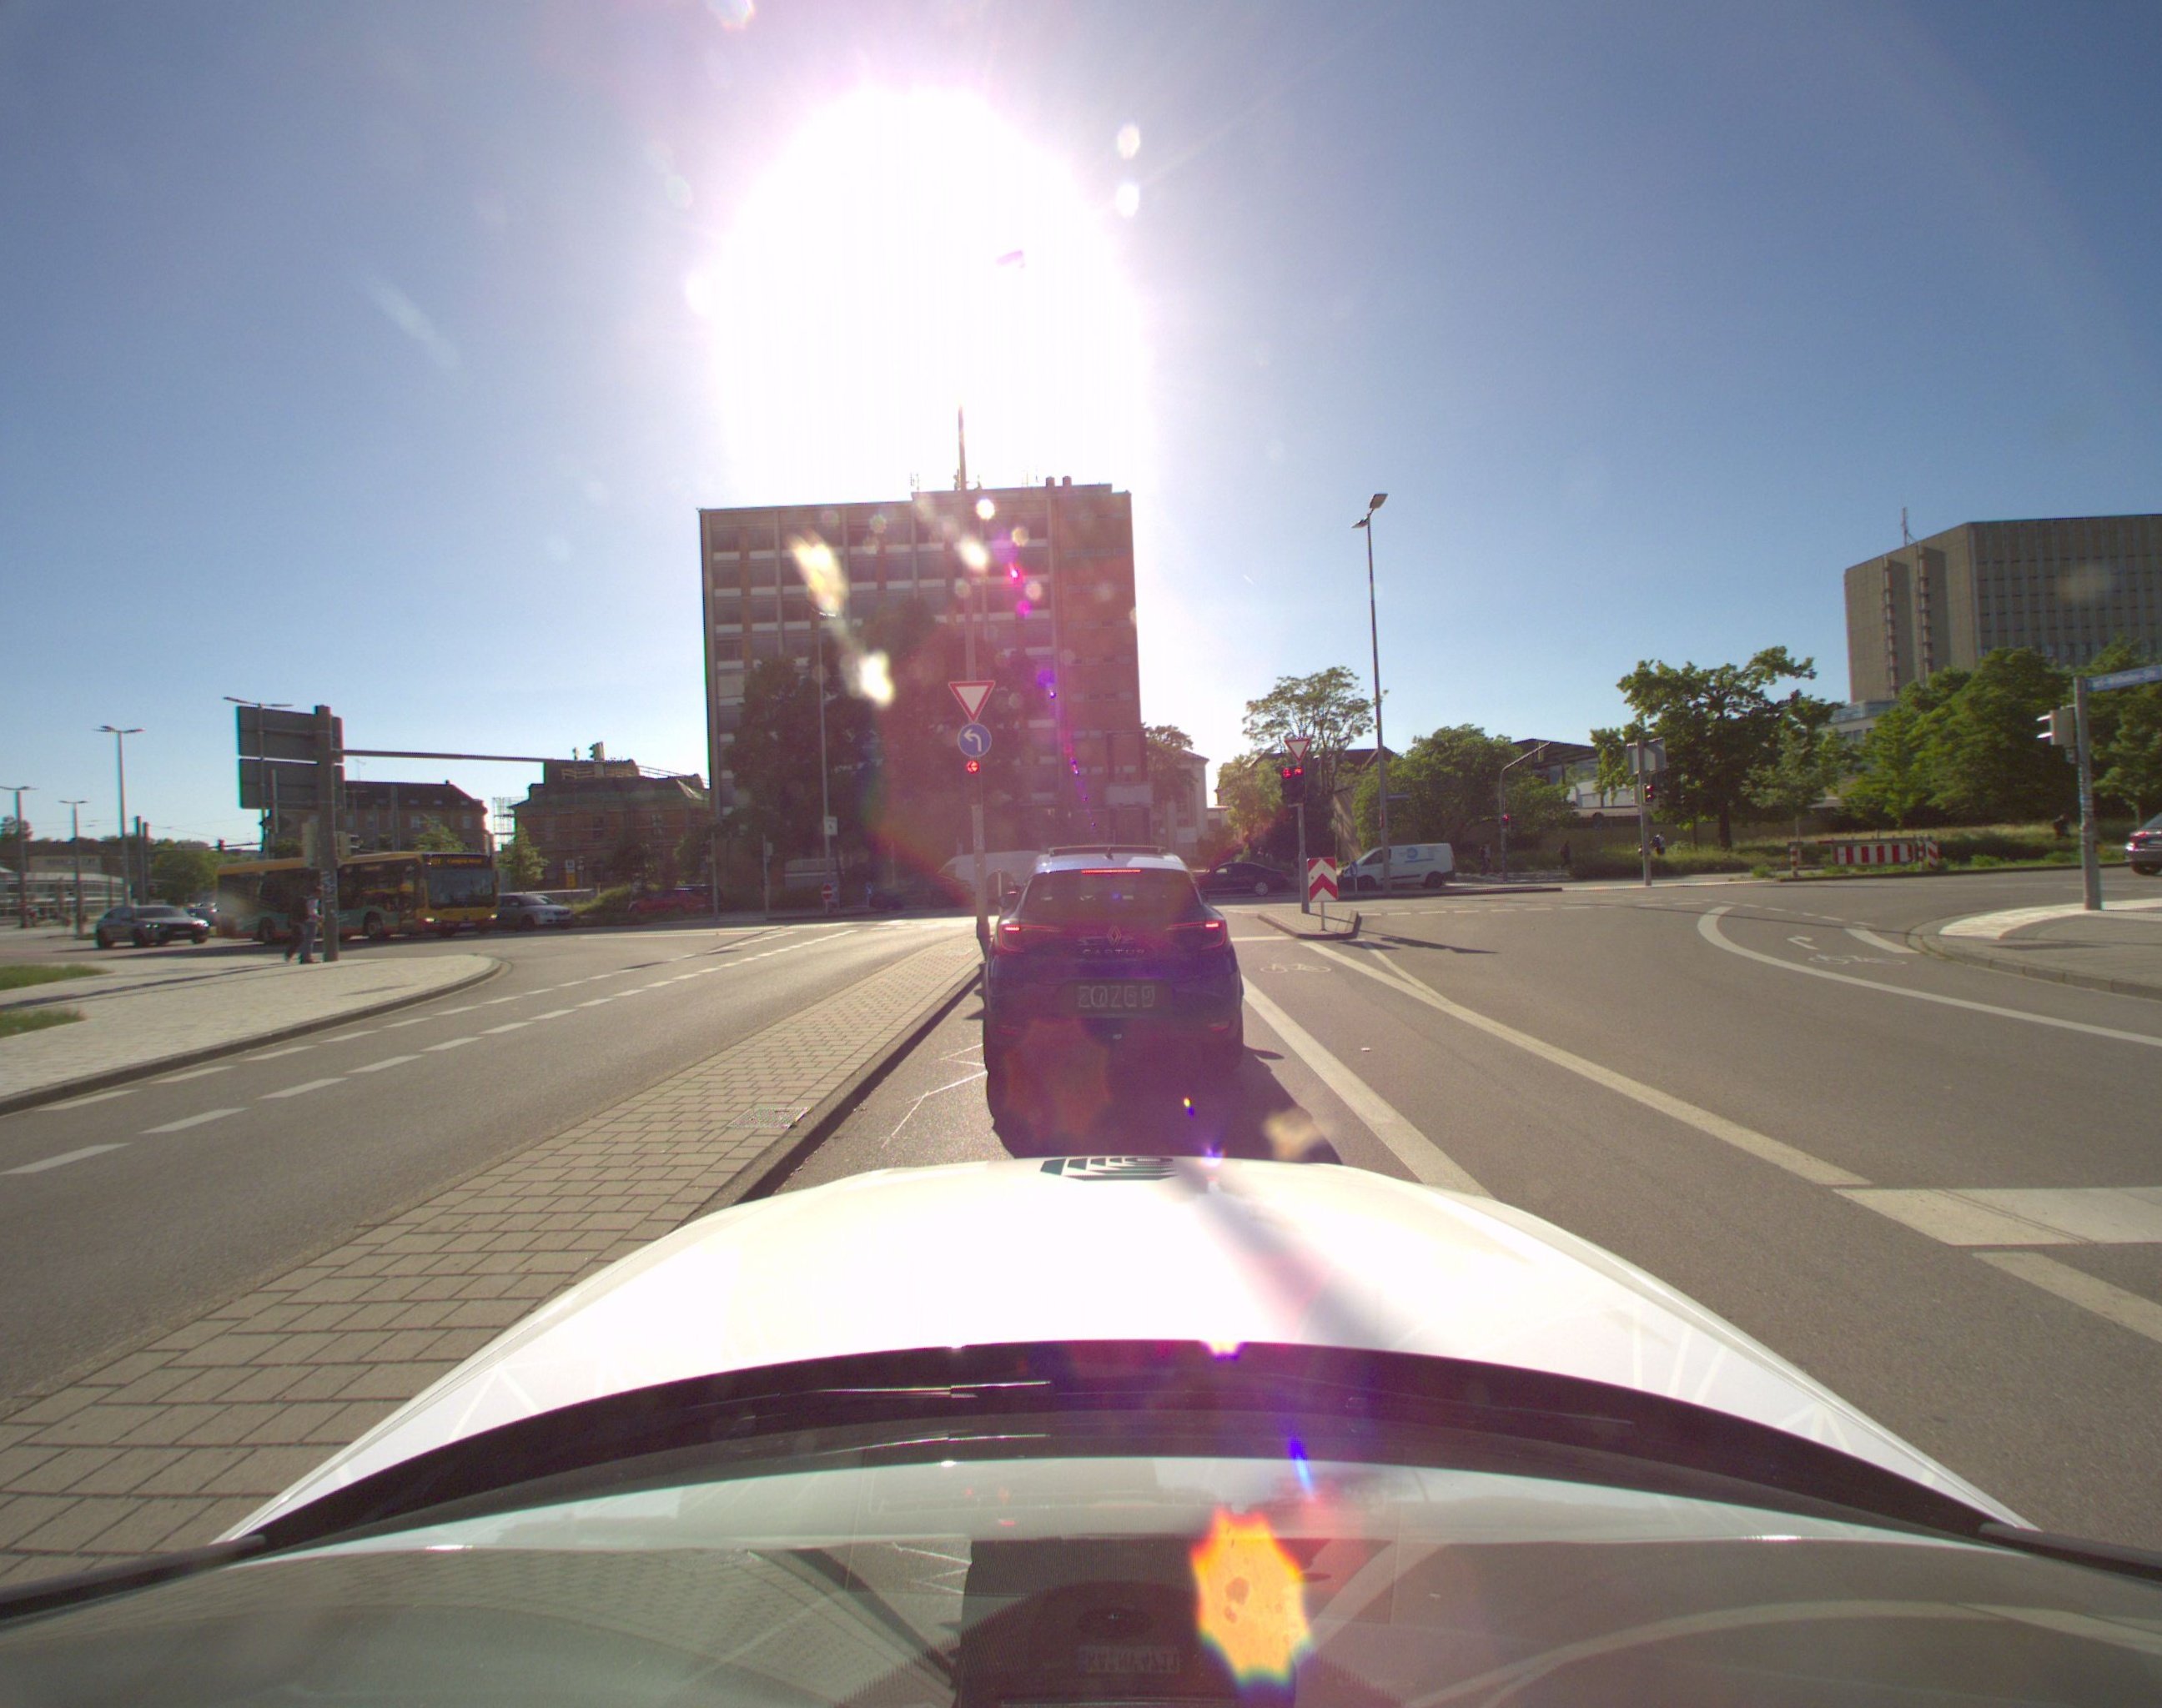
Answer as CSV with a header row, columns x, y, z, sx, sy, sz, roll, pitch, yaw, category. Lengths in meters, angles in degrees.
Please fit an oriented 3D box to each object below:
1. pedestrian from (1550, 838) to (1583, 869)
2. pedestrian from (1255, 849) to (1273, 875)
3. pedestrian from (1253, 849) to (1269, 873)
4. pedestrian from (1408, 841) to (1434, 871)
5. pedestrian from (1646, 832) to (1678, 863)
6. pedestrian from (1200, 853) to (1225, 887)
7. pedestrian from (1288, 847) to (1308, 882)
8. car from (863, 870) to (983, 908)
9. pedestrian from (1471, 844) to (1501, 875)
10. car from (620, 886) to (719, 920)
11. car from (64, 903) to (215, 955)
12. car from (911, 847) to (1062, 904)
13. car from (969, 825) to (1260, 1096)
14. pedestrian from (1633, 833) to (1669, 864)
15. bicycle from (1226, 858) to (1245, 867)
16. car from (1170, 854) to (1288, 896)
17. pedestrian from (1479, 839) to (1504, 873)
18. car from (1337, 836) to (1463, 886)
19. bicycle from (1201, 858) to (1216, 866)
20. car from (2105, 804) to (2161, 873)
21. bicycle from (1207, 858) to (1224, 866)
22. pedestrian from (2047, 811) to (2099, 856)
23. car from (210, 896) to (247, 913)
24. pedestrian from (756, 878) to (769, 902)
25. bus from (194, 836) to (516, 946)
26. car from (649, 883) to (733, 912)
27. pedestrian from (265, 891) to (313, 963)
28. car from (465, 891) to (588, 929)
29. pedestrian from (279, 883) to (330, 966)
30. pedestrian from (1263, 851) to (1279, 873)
x,y,z,sx,sy,sz,roll,pitch,yaw,category
25.280,-0.026,42.389,1.140,1.521,0.944,-2,0,7,pedestrian
14.518,0.628,64.725,1.152,2.013,1.165,-2,0,2,pedestrian
13.786,0.540,62.259,0.949,1.741,0.984,-2,0,2,pedestrian
17.983,0.101,43.087,1.078,1.521,0.933,-2,0,11,pedestrian
29.698,-0.327,41.659,0.966,1.521,0.887,-2,0,5,pedestrian
7.510,0.908,46.541,1.288,1.855,0.969,-3,-1,13,pedestrian
11.938,0.578,44.883,0.926,1.855,0.809,-3,-1,11,pedestrian
-7.251,1.646,37.604,4.995,1.673,2.006,-1,-3,12,car
20.539,0.261,41.361,1.069,1.521,0.880,-2,0,6,pedestrian
-20.779,2.460,41.152,4.016,1.439,2.073,-3,0,13,car
-40.034,3.173,34.678,4.697,1.861,2.011,-3,0,10,car
-4.750,1.085,41.530,6.884,2.547,3.025,-3,0,15,car
0.239,0.657,6.991,1.788,1.655,3.854,-1,0,1,car
29.726,-0.273,42.489,1.123,1.521,0.992,-2,0,5,pedestrian
15.822,0.830,83.384,1.770,0.823,0.763,-2,0,-9,bicycle
6.407,0.900,35.248,4.811,1.582,2.108,-3,0,11,car
21.807,0.091,43.290,0.955,1.732,0.930,-3,-1,18,pedestrian
14.262,0.320,36.715,4.965,2.013,2.079,-3,0,12,car
15.567,0.974,99.566,1.764,0.893,0.766,-2,0,2,bicycle
25.581,-0.418,17.815,3.970,1.516,1.744,-2,0,3,car
15.712,0.925,95.196,1.764,0.898,0.766,-2,0,2,bicycle
47.489,-0.988,39.009,1.181,2.079,0.983,-2,-1,5,pedestrian
-90.658,5.375,86.626,3.948,1.582,2.013,-1,-1,33,car
-21.256,2.397,54.328,0.528,1.571,0.559,-3,-1,26,pedestrian
-27.225,1.422,30.423,12.320,3.570,3.266,-3,0,19,bus
-22.573,2.497,47.170,4.013,1.439,2.075,-3,0,17,car
-19.287,1.768,19.838,0.627,1.697,0.608,-3,-1,25,pedestrian
-21.623,2.179,31.807,3.815,1.403,1.899,-2,-3,15,car
-18.155,1.636,19.036,0.673,1.855,0.608,-3,-1,25,pedestrian
14.403,0.615,61.871,0.932,1.613,1.176,-2,0,2,pedestrian
